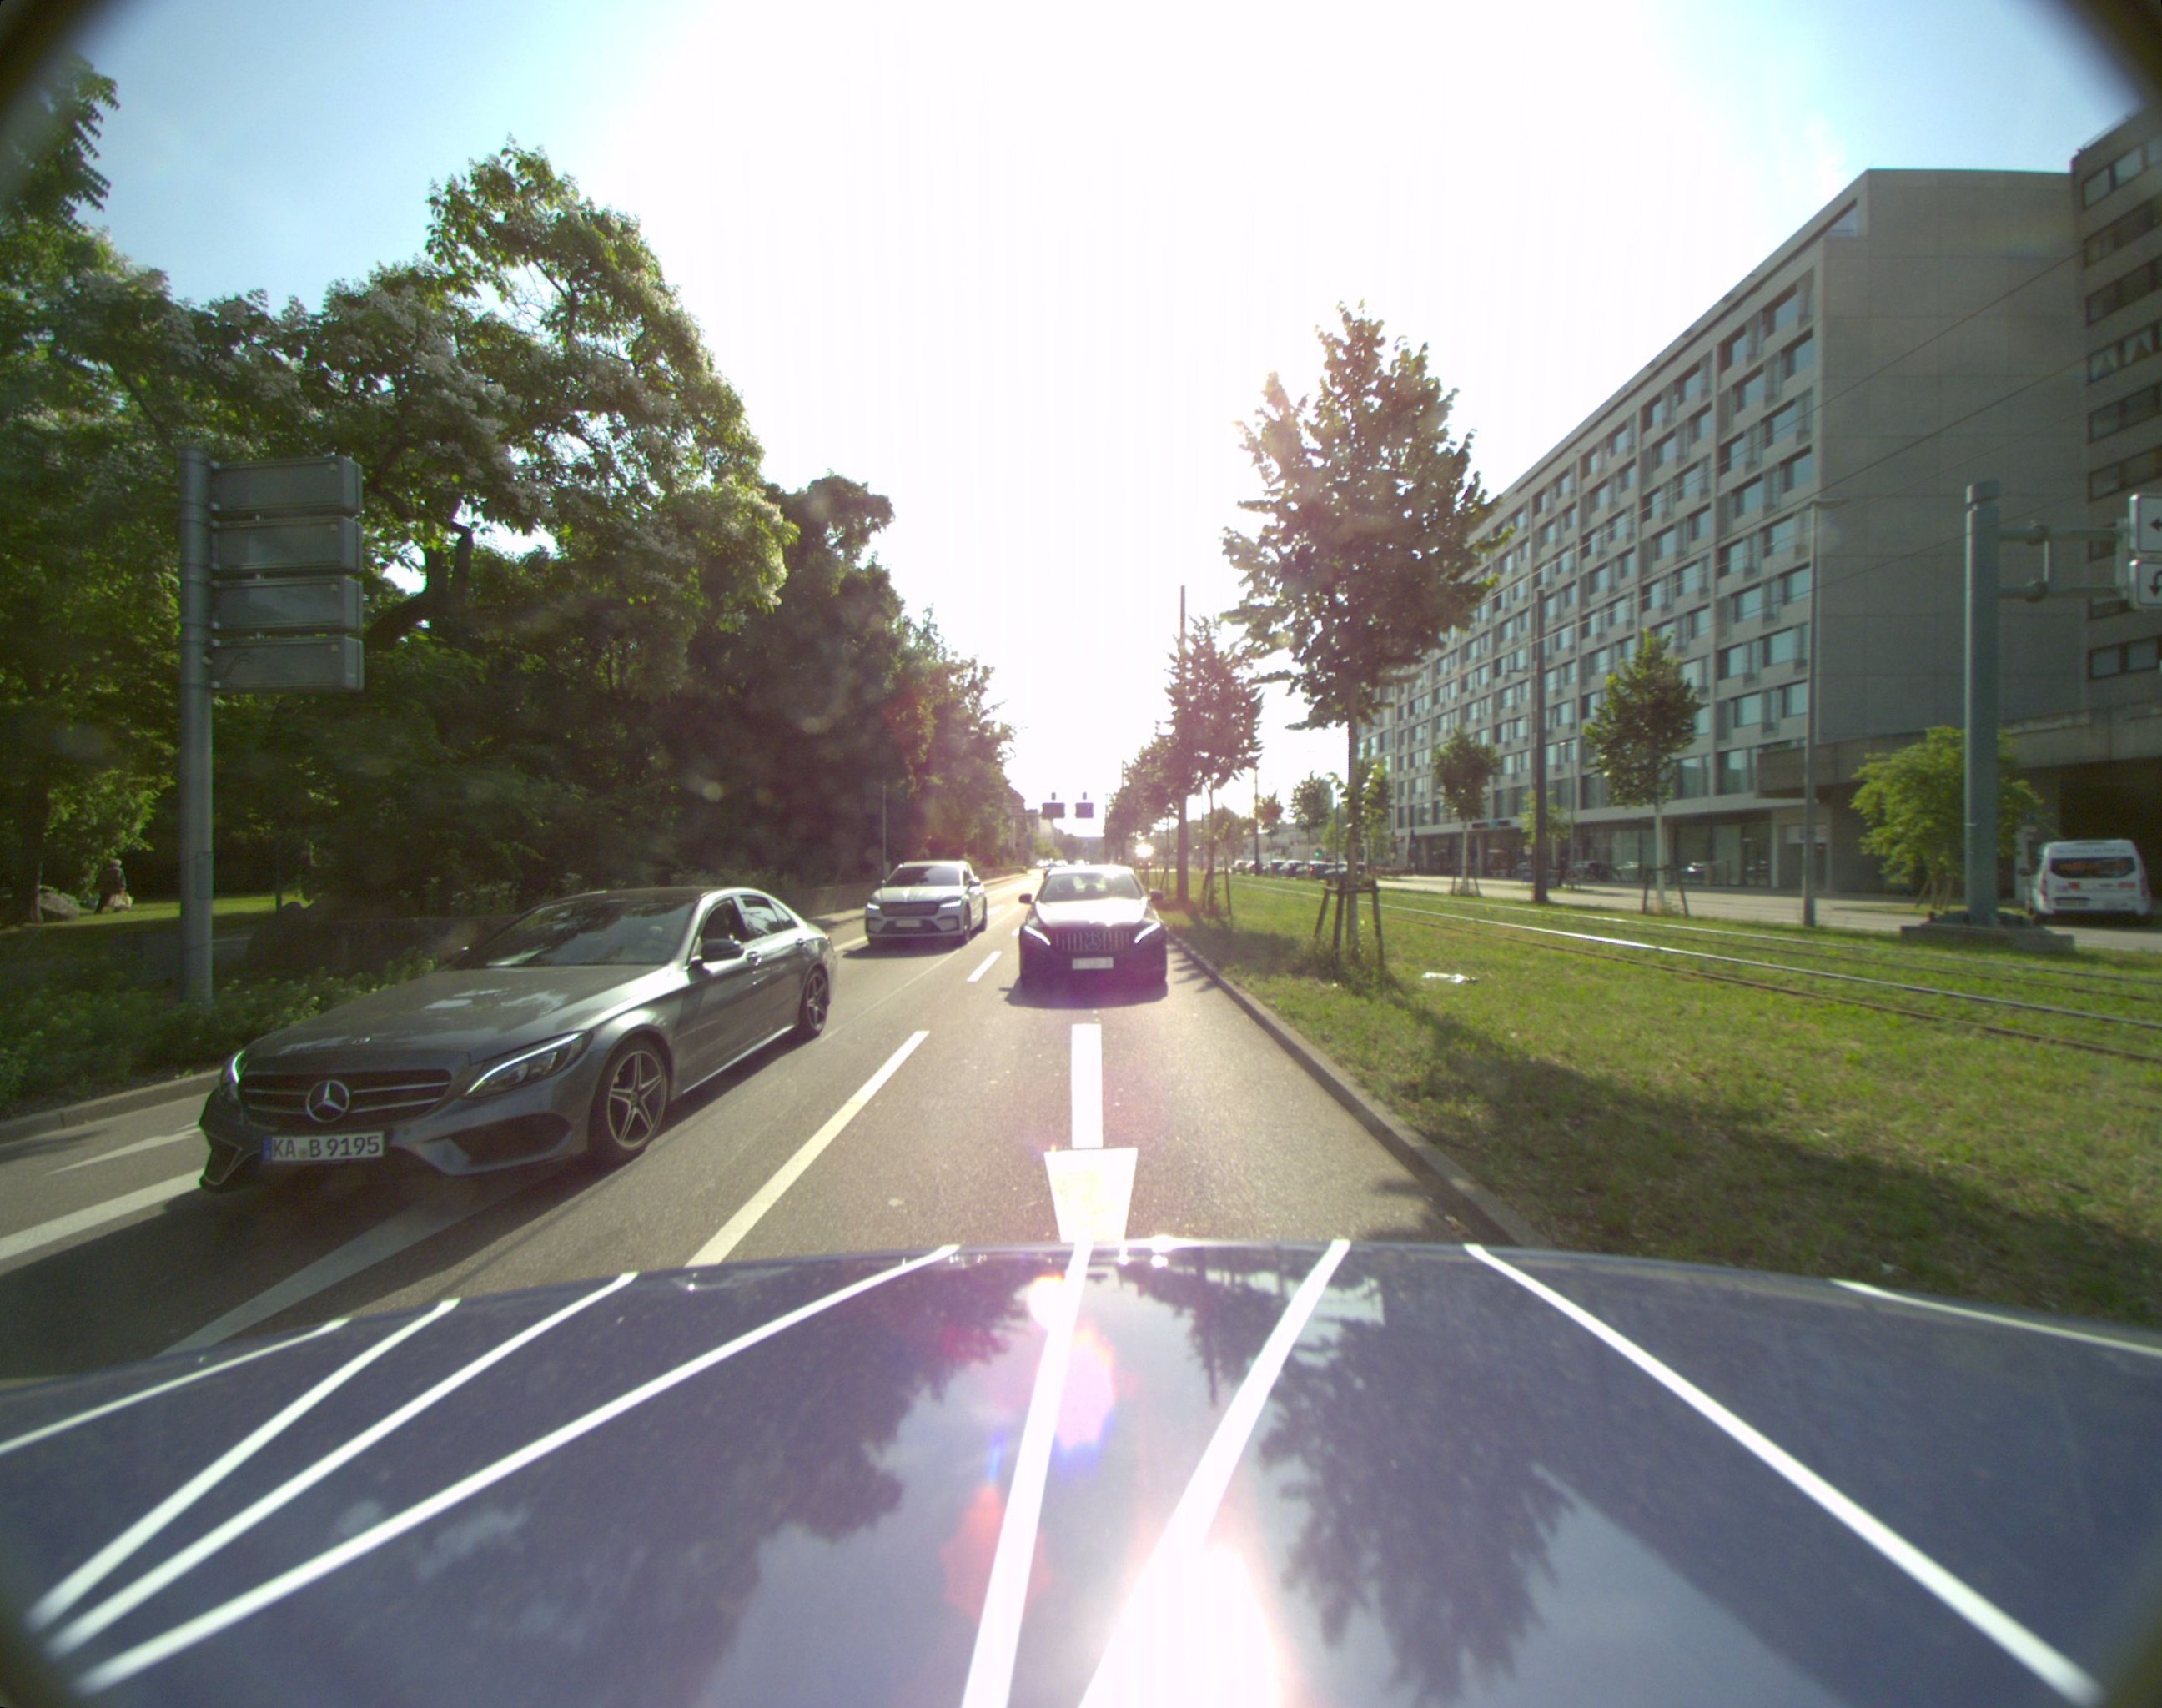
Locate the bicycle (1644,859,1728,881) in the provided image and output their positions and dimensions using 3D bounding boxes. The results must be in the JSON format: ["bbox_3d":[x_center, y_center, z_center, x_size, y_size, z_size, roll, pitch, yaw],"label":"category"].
[{"bbox_3d":[37.290,0.967,46.910,3.994,1.358,1.127,0,0,10],"label":"bicycle"}]

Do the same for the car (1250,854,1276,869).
[{"bbox_3d":[17.921,0.752,75.142,1.811,1.466,4.001,0,0,3],"label":"car"}]

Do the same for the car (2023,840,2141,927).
[{"bbox_3d":[29.465,0.781,22.518,5.419,2.295,1.879,0,0,-40],"label":"car"}]

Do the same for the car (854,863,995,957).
[{"bbox_3d":[-3.019,1.020,15.622,1.897,1.561,4.250,-1,0,1],"label":"car"}]

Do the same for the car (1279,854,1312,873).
[{"bbox_3d":[17.869,0.749,63.461,1.811,1.565,4.001,0,0,3],"label":"car"}]

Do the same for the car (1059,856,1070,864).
[{"bbox_3d":[-3.254,1.129,151.356,1.904,1.584,4.000,0,0,1],"label":"car"}]

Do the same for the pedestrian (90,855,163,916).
[{"bbox_3d":[-29.691,0.958,23.652,1.071,1.820,0.983,0,1,-25],"label":"pedestrian"}]

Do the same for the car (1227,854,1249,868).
[{"bbox_3d":[17.784,0.752,86.088,1.787,1.516,4.000,0,0,1],"label":"car"}]

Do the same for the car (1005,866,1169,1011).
[{"bbox_3d":[0.113,0.974,10.710,1.759,1.437,4.617,-2,1,1],"label":"car"}]

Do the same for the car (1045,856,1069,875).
[{"bbox_3d":[-2.084,0.966,66.933,1.998,1.630,4.000,0,0,1],"label":"car"}]

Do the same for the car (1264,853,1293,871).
[{"bbox_3d":[17.885,0.722,68.939,1.811,1.565,4.001,0,0,3],"label":"car"}]

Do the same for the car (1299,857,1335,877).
[{"bbox_3d":[17.716,0.969,57.079,1.745,1.478,3.642,0,0,3],"label":"car"}]

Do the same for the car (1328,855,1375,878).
[{"bbox_3d":[17.597,0.778,49.567,1.811,1.472,4.001,0,0,3],"label":"car"}]

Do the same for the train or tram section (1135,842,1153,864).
[{"bbox_3d":[9.788,-0.131,118.944,2.500,3.409,6.670,0,0,2],"label":"train or tram section"}]
